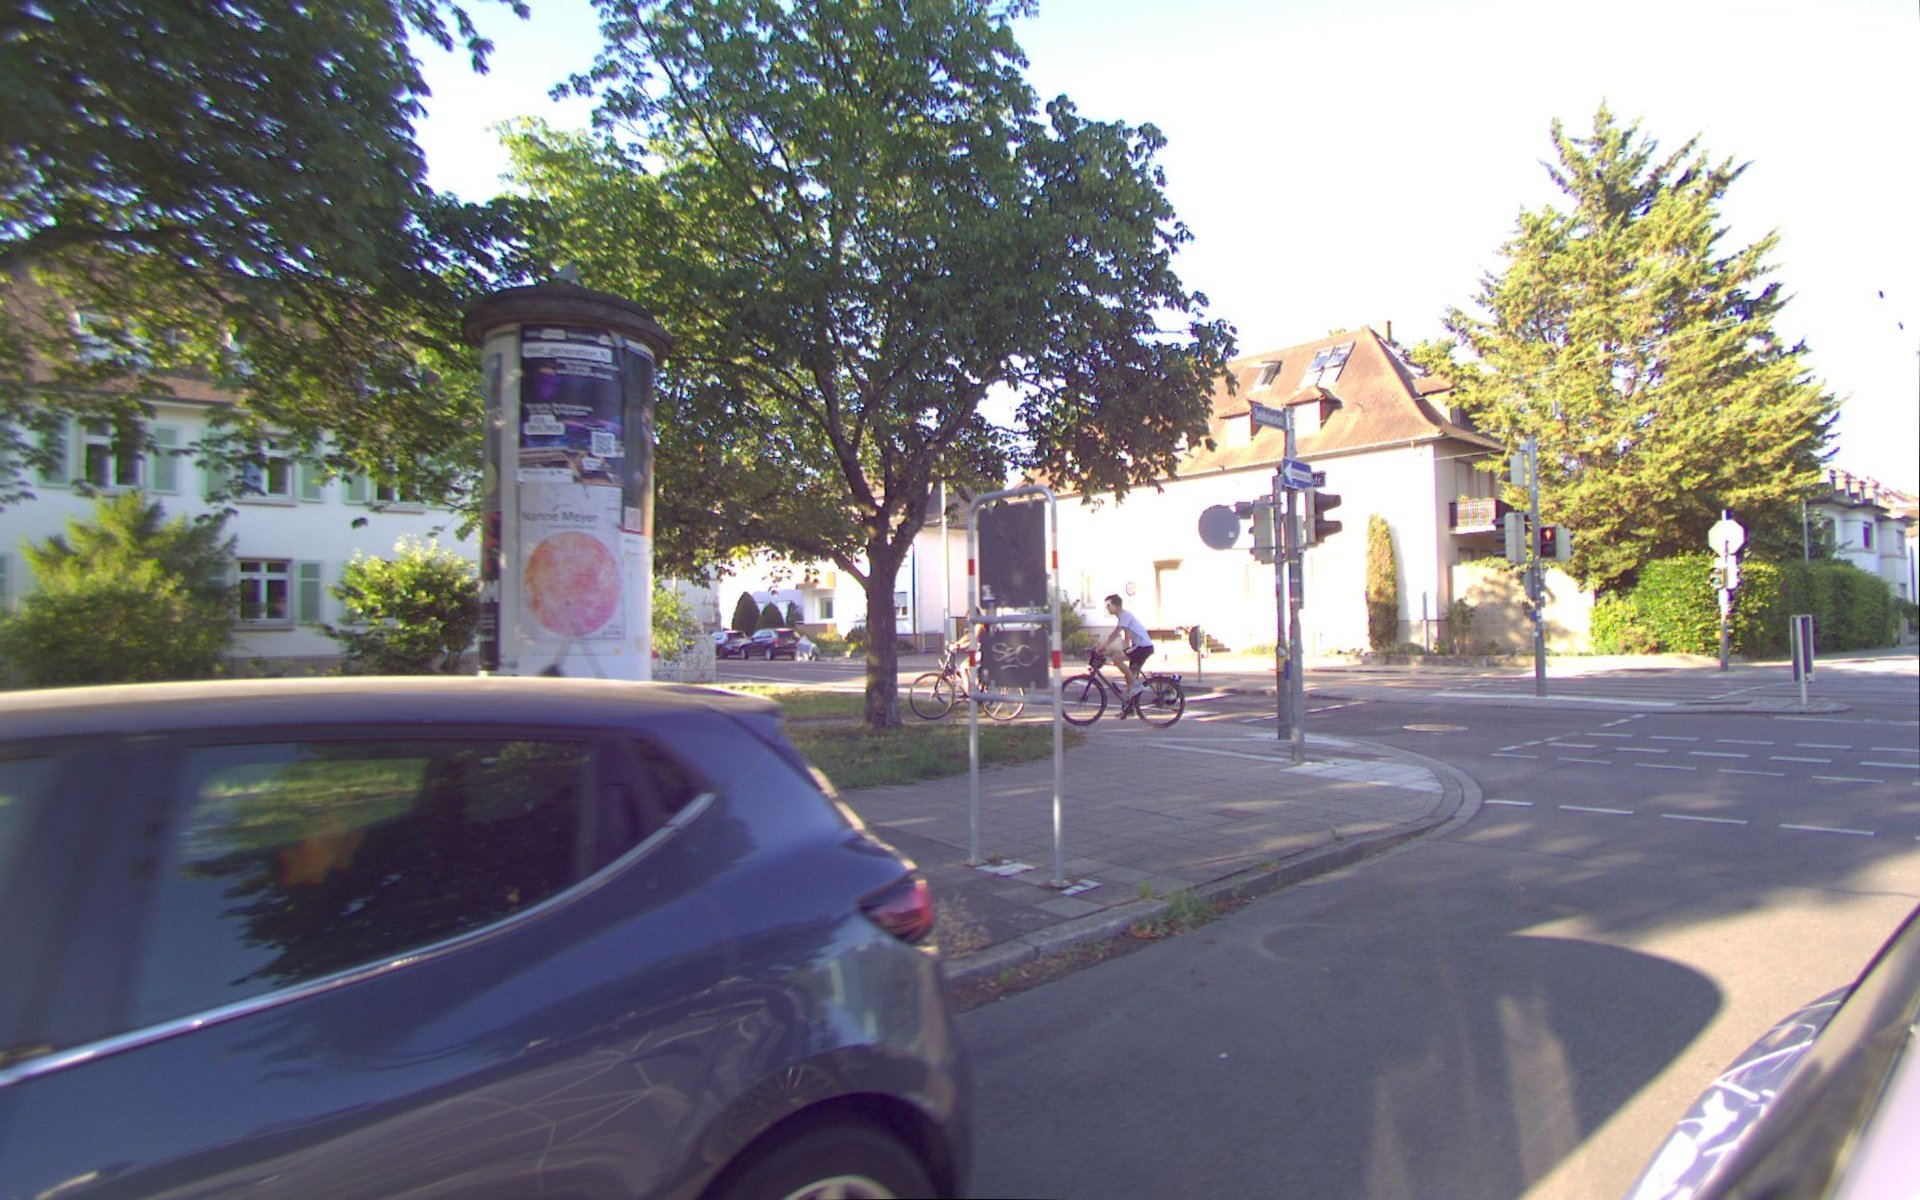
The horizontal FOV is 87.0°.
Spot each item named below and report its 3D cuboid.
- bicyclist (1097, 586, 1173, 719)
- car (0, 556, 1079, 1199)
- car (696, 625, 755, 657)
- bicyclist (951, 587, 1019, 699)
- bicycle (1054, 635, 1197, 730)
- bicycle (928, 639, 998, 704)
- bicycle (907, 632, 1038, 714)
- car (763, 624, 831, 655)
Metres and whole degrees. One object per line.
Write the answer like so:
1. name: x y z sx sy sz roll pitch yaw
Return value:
1. bicyclist: 2.426 0.730 14.154 0.878 1.755 0.815 -4 -3 7
2. car: -2.023 0.792 1.365 4.461 1.530 1.728 -1 -4 -41
3. car: -14.428 2.491 62.218 1.964 1.906 3.994 1 -2 -39
4. bicyclist: 0.384 0.642 15.143 0.878 1.583 0.713 -4 -3 6
5. bicycle: 2.291 1.150 14.180 1.872 1.199 0.573 -4 -3 6
6. bicycle: 0.037 1.257 18.121 0.458 1.103 1.526 0 -2 -35
7. bicycle: 0.191 1.087 15.169 1.930 1.199 0.491 0 -2 8
8. car: -9.017 2.185 55.742 1.964 1.616 3.994 -1 -2 -39
